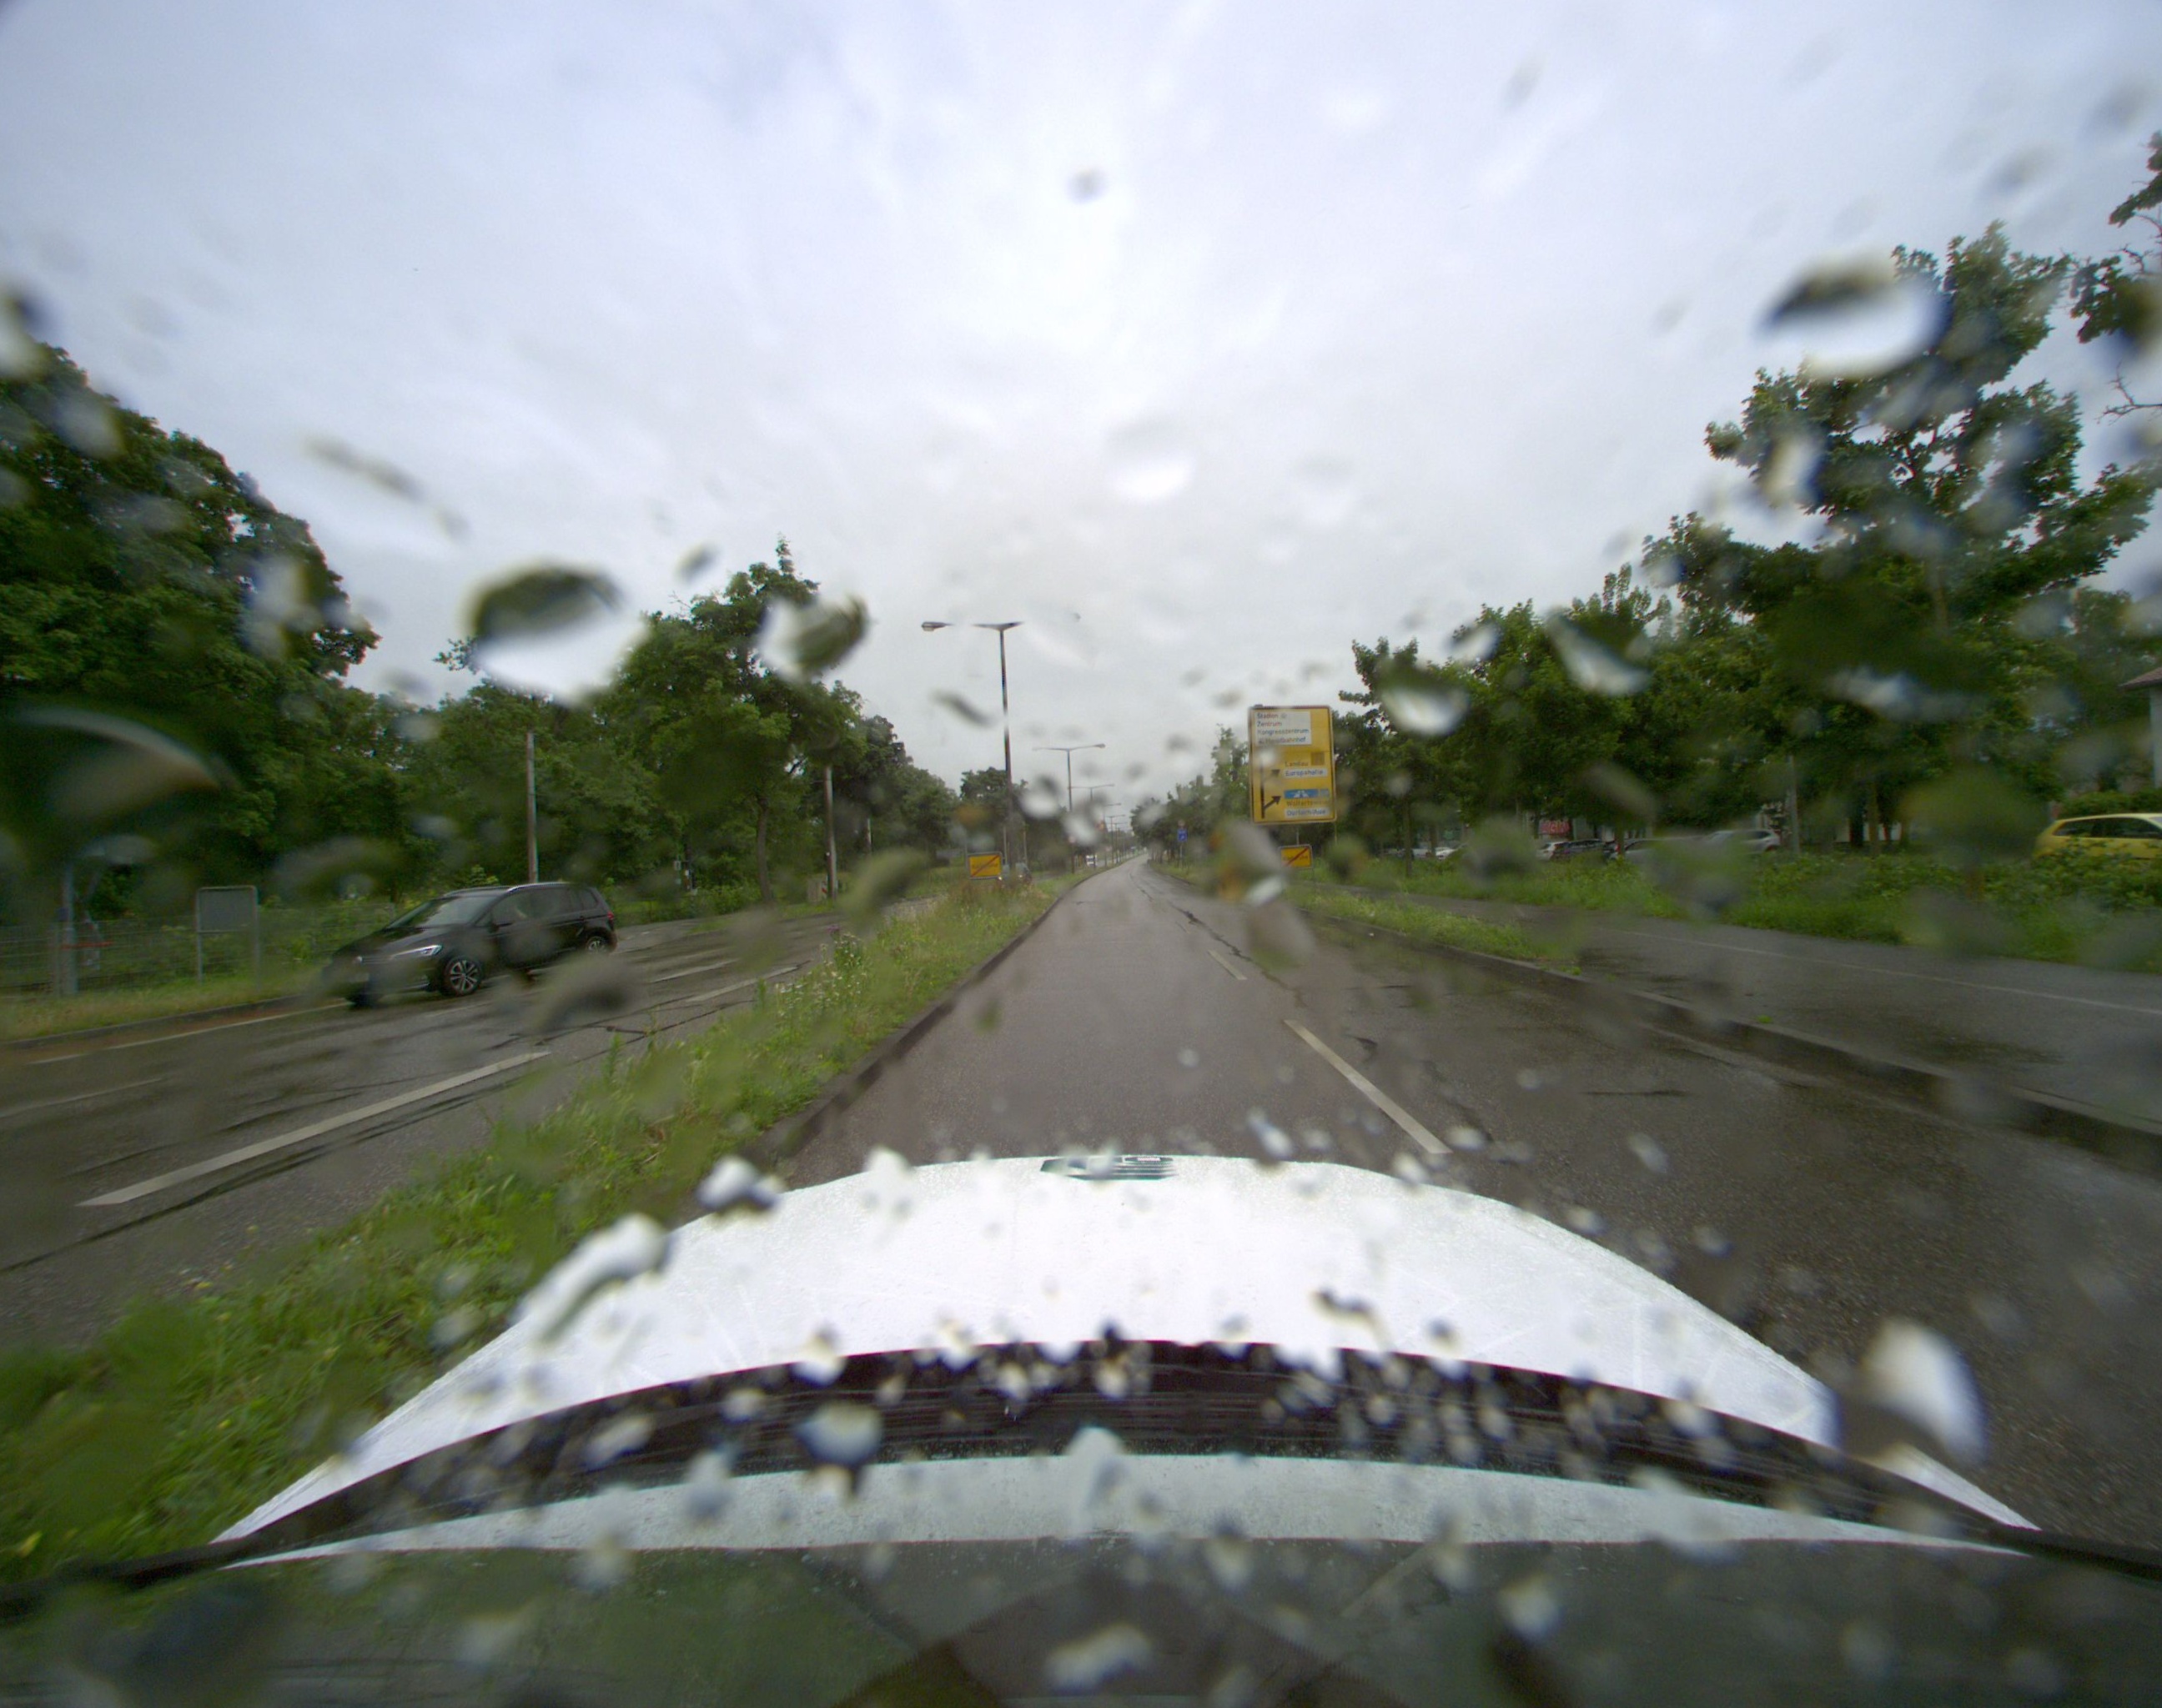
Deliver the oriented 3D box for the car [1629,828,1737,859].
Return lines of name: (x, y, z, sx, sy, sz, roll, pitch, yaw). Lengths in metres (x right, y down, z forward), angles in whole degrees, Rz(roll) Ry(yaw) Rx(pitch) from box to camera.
car: (31.847, -0.540, 43.170, 4.320, 1.484, 1.945, -1, -1, 0)

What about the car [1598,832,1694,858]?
car: (31.742, -0.501, 45.829, 4.165, 1.340, 1.867, -1, -1, 0)

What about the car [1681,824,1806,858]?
car: (31.086, -0.599, 38.285, 4.320, 1.503, 1.924, -1, -1, 0)

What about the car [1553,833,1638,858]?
car: (31.867, -0.529, 50.526, 4.114, 1.460, 1.791, -1, -1, 3)

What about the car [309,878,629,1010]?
car: (-9.892, 1.345, 13.712, 1.698, 1.641, 4.338, -4, -1, 6)

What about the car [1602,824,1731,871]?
car: (23.223, -0.212, 32.578, 1.985, 1.625, 4.646, -3, -1, 4)

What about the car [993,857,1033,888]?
car: (-4.048, 1.094, 49.233, 1.736, 1.650, 4.139, -5, 0, 3)

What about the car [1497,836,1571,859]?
car: (33.390, -0.454, 60.112, 4.320, 1.558, 1.945, -1, -1, 0)

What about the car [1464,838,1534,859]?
car: (33.535, -0.403, 65.443, 4.545, 1.558, 1.949, -1, -1, 7)

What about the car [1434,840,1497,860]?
car: (33.483, -0.322, 71.066, 4.555, 1.705, 1.999, -1, -1, -1)

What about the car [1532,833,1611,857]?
car: (32.201, -0.553, 53.553, 4.175, 1.484, 1.760, -1, -1, 0)

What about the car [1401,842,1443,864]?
car: (25.366, -0.111, 60.749, 1.736, 1.445, 4.129, -3, 1, 6)

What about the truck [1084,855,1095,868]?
truck: (1.842, 1.736, 182.609, 2.130, 2.843, 5.076, -4, -1, 2)

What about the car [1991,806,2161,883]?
car: (21.770, -0.176, 16.738, 1.631, 1.486, 4.074, -1, -1, 2)

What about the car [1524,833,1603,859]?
car: (33.478, -0.527, 56.582, 4.320, 1.725, 1.945, -1, -1, 0)
